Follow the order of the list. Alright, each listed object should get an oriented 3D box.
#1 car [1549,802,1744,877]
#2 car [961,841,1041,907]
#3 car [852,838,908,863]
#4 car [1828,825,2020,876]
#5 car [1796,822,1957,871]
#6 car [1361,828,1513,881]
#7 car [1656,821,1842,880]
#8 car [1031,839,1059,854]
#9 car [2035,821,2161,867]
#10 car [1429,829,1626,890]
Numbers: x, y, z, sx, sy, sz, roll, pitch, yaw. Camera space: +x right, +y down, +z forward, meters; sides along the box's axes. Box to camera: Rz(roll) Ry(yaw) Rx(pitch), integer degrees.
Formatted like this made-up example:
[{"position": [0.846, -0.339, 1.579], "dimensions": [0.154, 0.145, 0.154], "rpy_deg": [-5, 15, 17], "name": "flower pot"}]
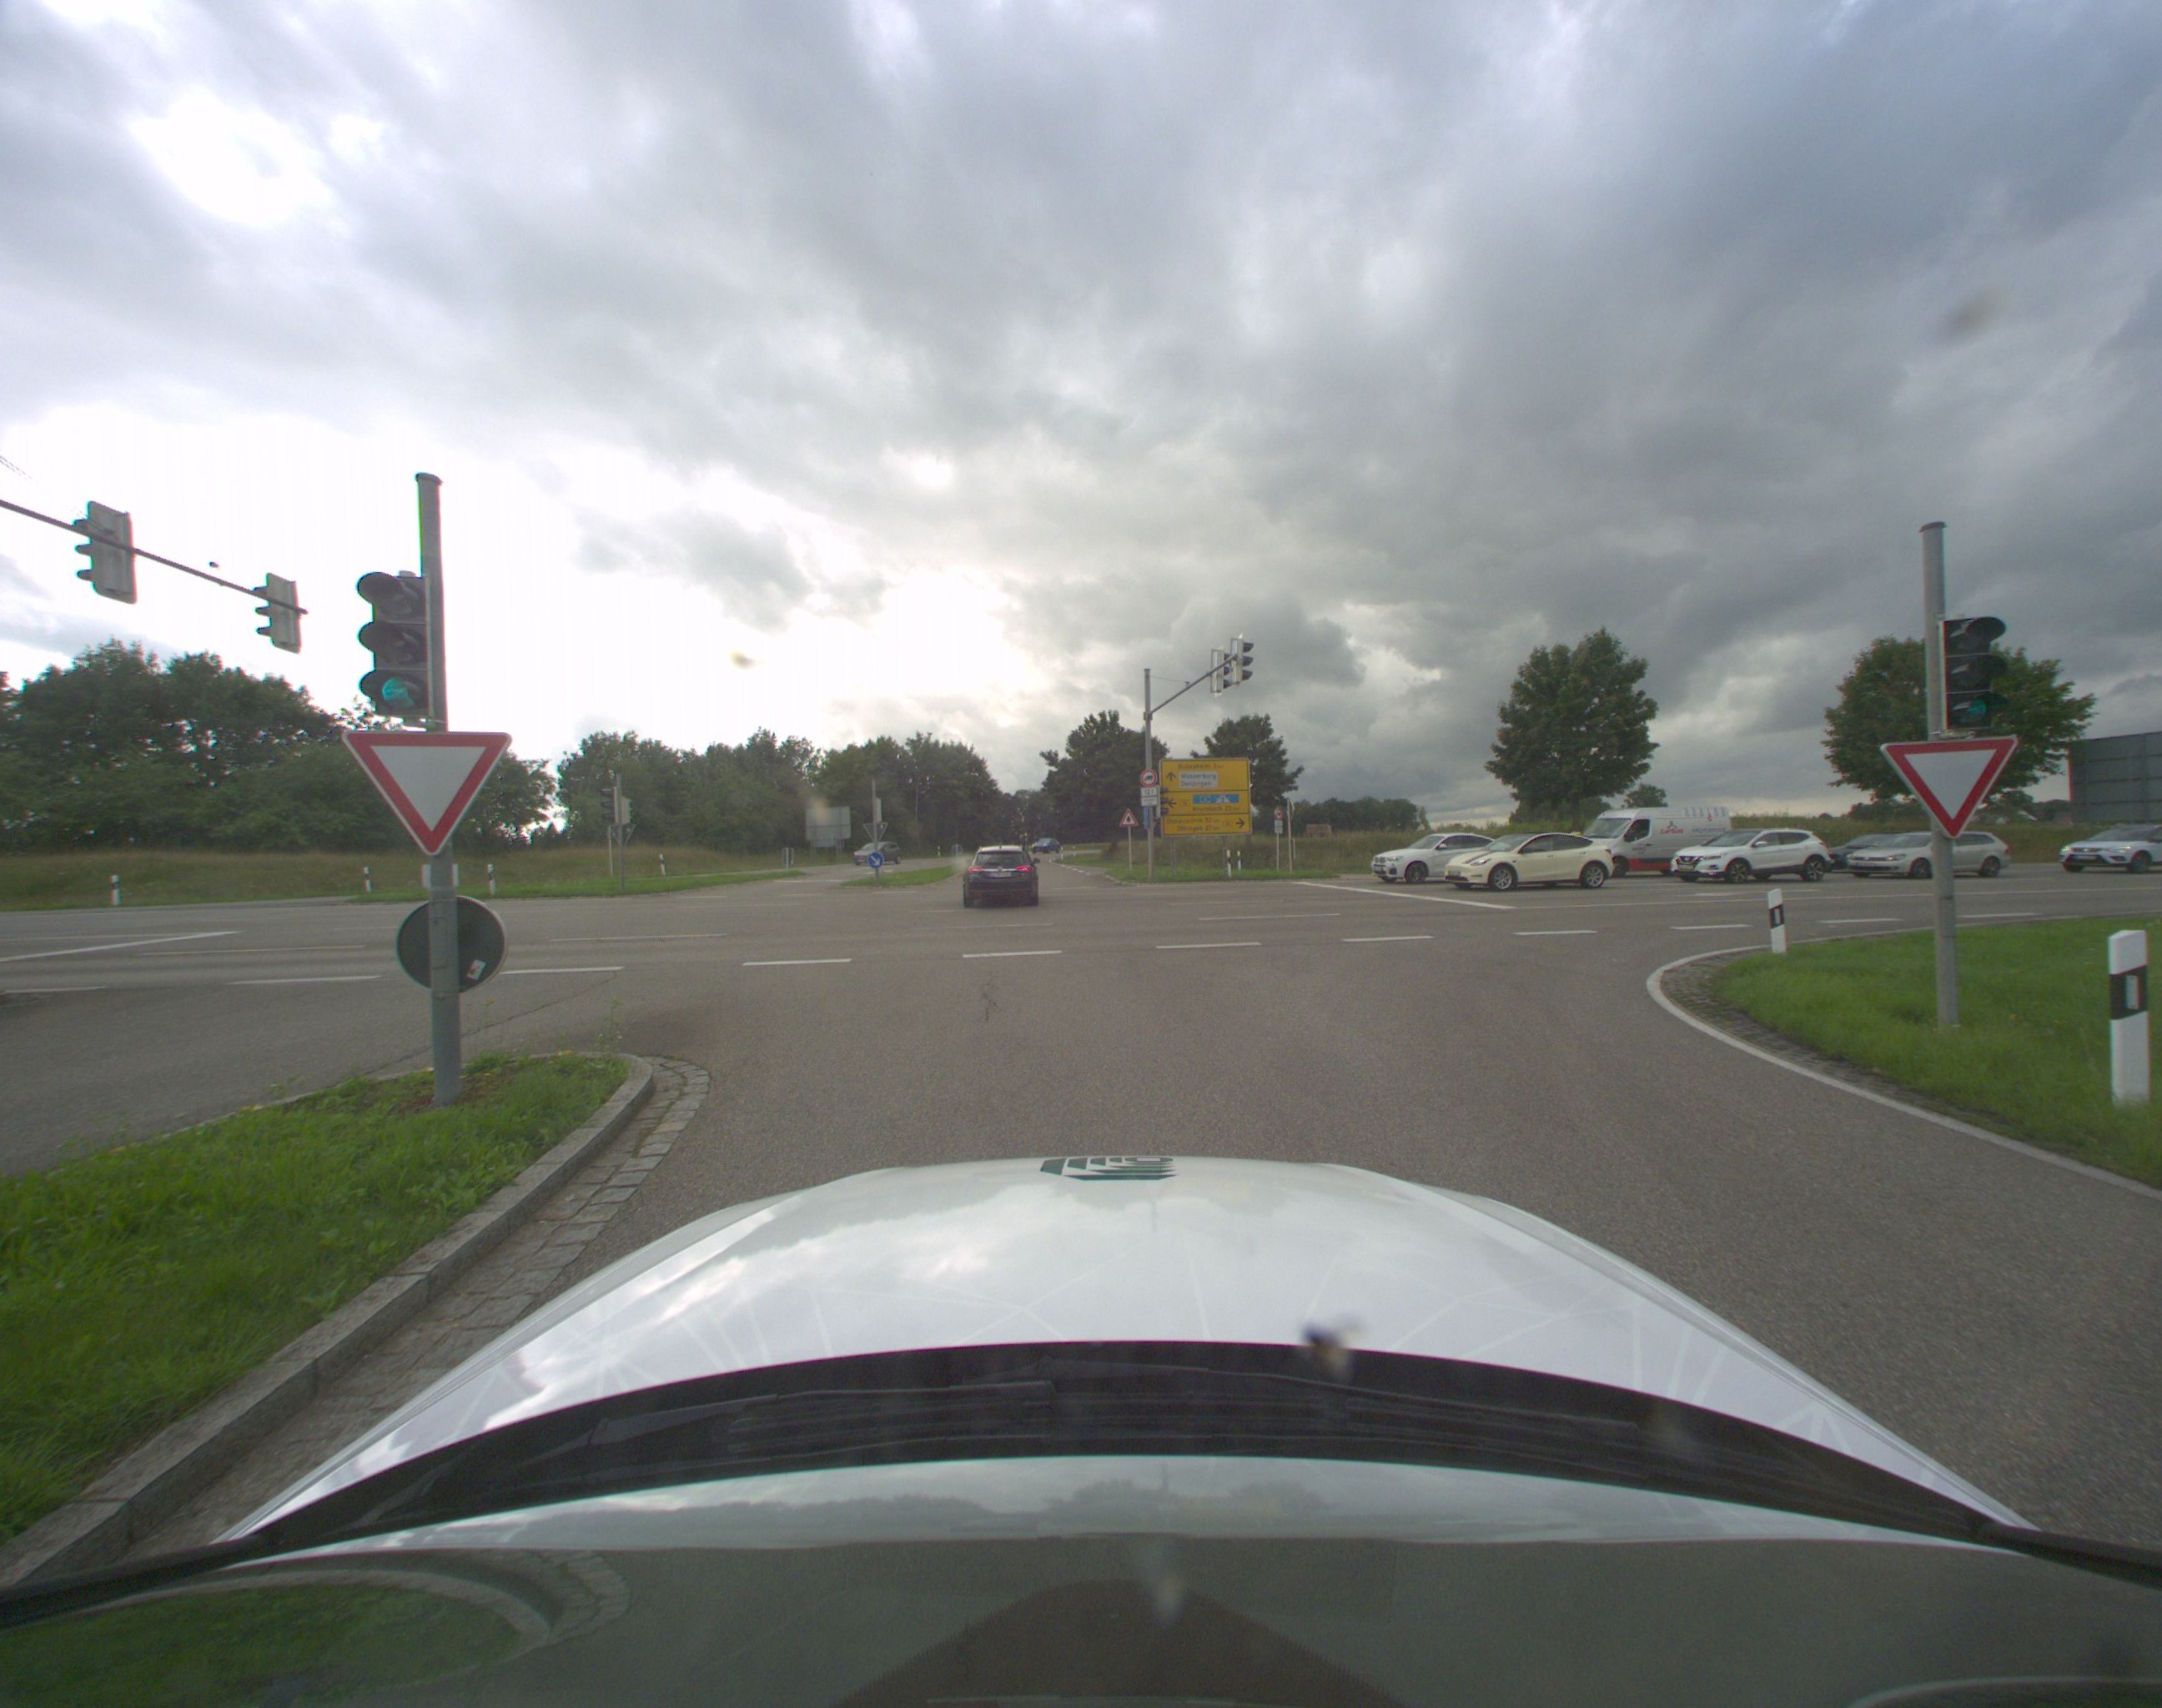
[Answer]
[{"position": [19.955, -0.507, 28.867], "dimensions": [5.491, 2.442, 2.391], "rpy_deg": [-1, -1, -8], "name": "car"}, {"position": [-1.993, 0.417, 20.864], "dimensions": [1.804, 1.450, 4.267], "rpy_deg": [-1, 1, -4], "name": "car"}, {"position": [-12.847, -0.206, 52.378], "dimensions": [1.981, 1.535, 4.011], "rpy_deg": [-1, 0, 10], "name": "car"}, {"position": [26.643, -0.122, 25.798], "dimensions": [4.565, 1.454, 1.994], "rpy_deg": [-1, 1, -9], "name": "car"}, {"position": [28.641, -0.258, 29.391], "dimensions": [4.259, 1.629, 1.994], "rpy_deg": [-1, -1, -9], "name": "car"}, {"position": [11.827, 0.016, 27.202], "dimensions": [4.260, 1.629, 1.994], "rpy_deg": [-1, -1, -10], "name": "car"}, {"position": [20.279, -0.103, 24.817], "dimensions": [4.307, 1.629, 1.994], "rpy_deg": [-1, -1, -9], "name": "car"}, {"position": [-3.957, -0.800, 89.941], "dimensions": [1.981, 1.570, 4.770], "rpy_deg": [-1, 1, 10], "name": "car"}, {"position": [34.507, -0.350, 26.803], "dimensions": [4.429, 1.418, 1.995], "rpy_deg": [-1, 1, -8], "name": "car"}, {"position": [12.760, 0.153, 23.389], "dimensions": [4.731, 1.565, 1.994], "rpy_deg": [-1, -1, -9], "name": "car"}]
